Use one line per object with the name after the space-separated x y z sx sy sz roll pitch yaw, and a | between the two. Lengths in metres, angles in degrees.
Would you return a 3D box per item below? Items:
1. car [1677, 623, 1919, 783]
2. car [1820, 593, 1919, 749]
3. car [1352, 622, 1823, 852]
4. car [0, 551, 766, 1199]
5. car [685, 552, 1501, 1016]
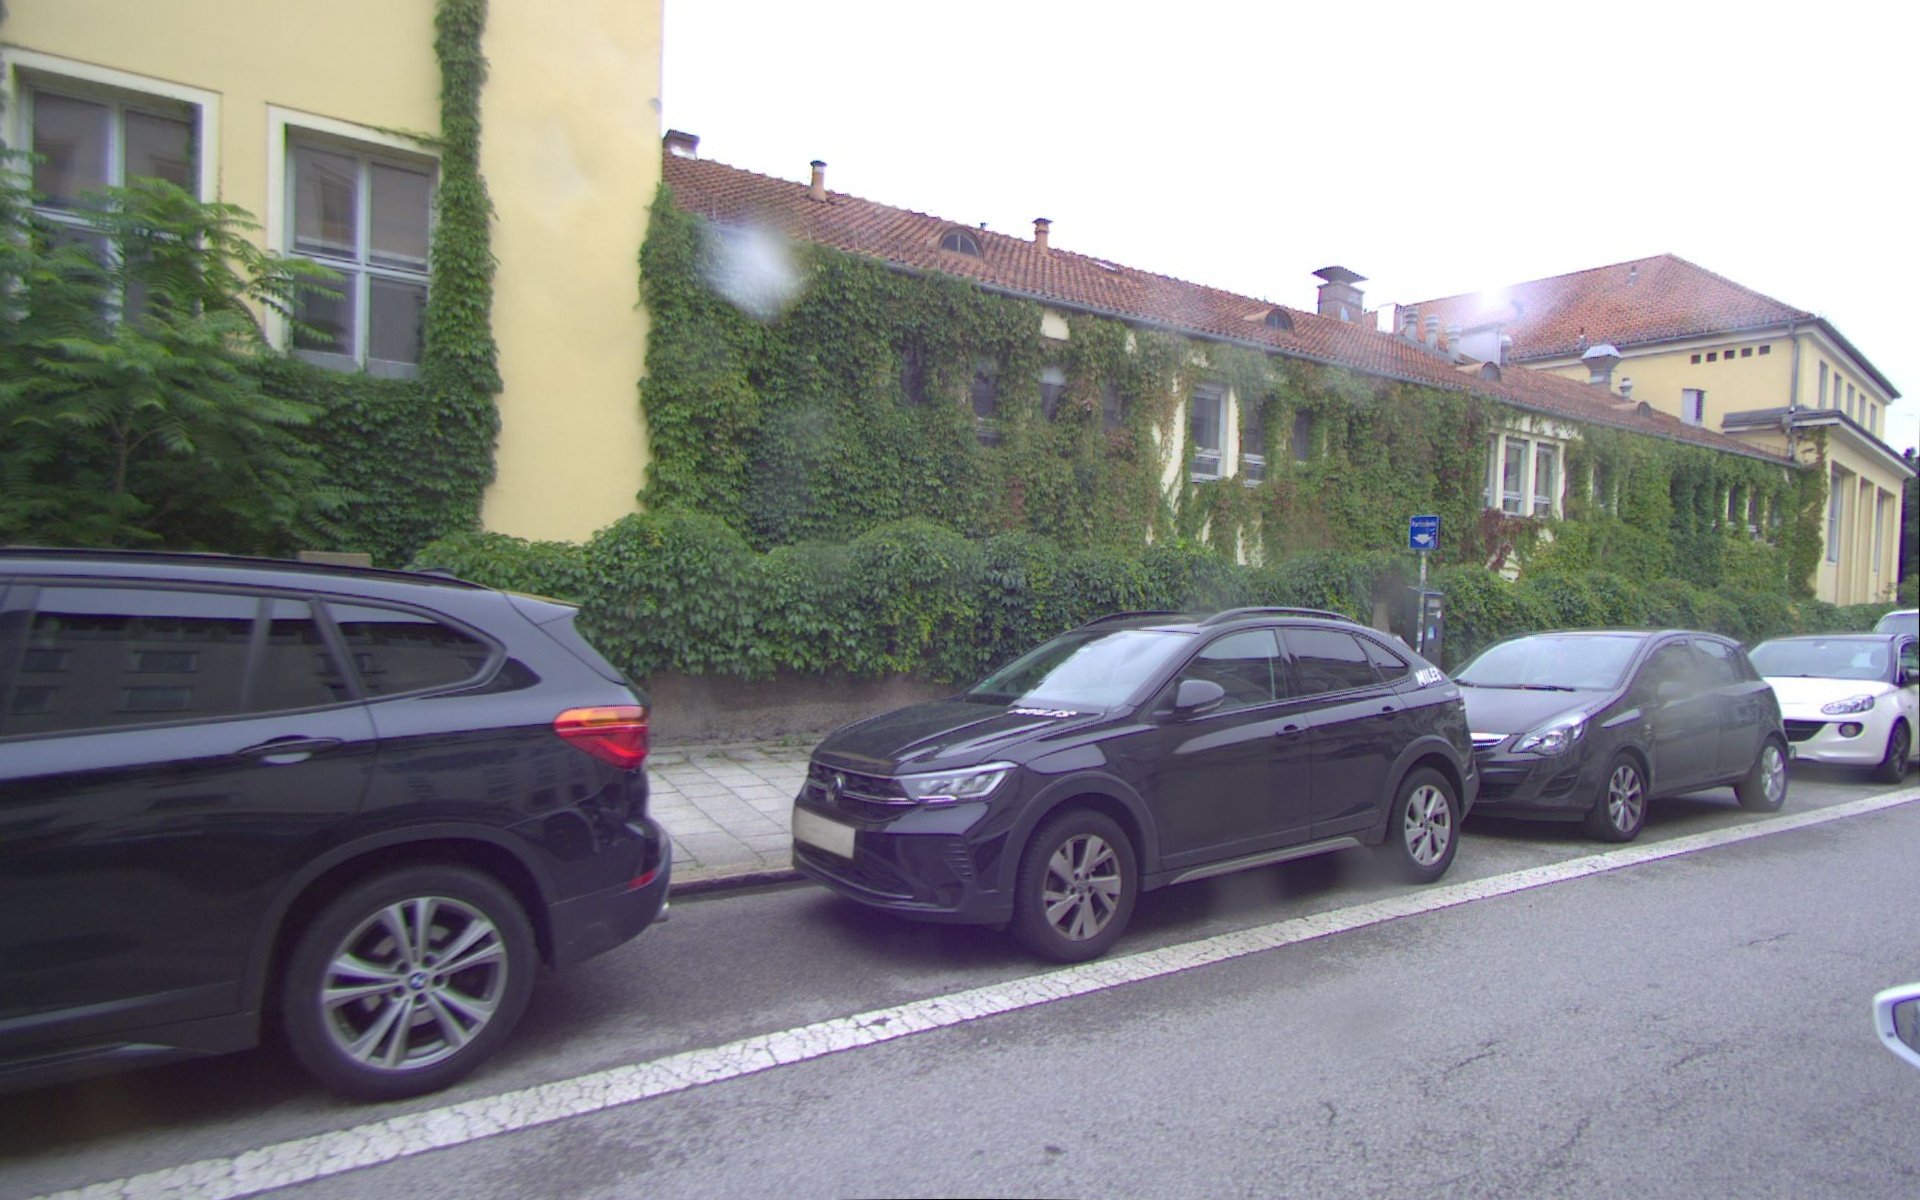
9.590 1.006 10.937 3.976 1.460 1.582 2 -2 -33 | car
13.863 0.937 13.645 4.718 1.914 1.878 2 -2 -30 | car
5.199 0.943 8.159 4.205 1.449 1.595 2 -3 -33 | car
-3.162 0.697 3.016 4.767 1.607 1.779 1 -2 -33 | car
0.932 0.722 5.526 4.418 1.651 1.714 2 -2 -33 | car
